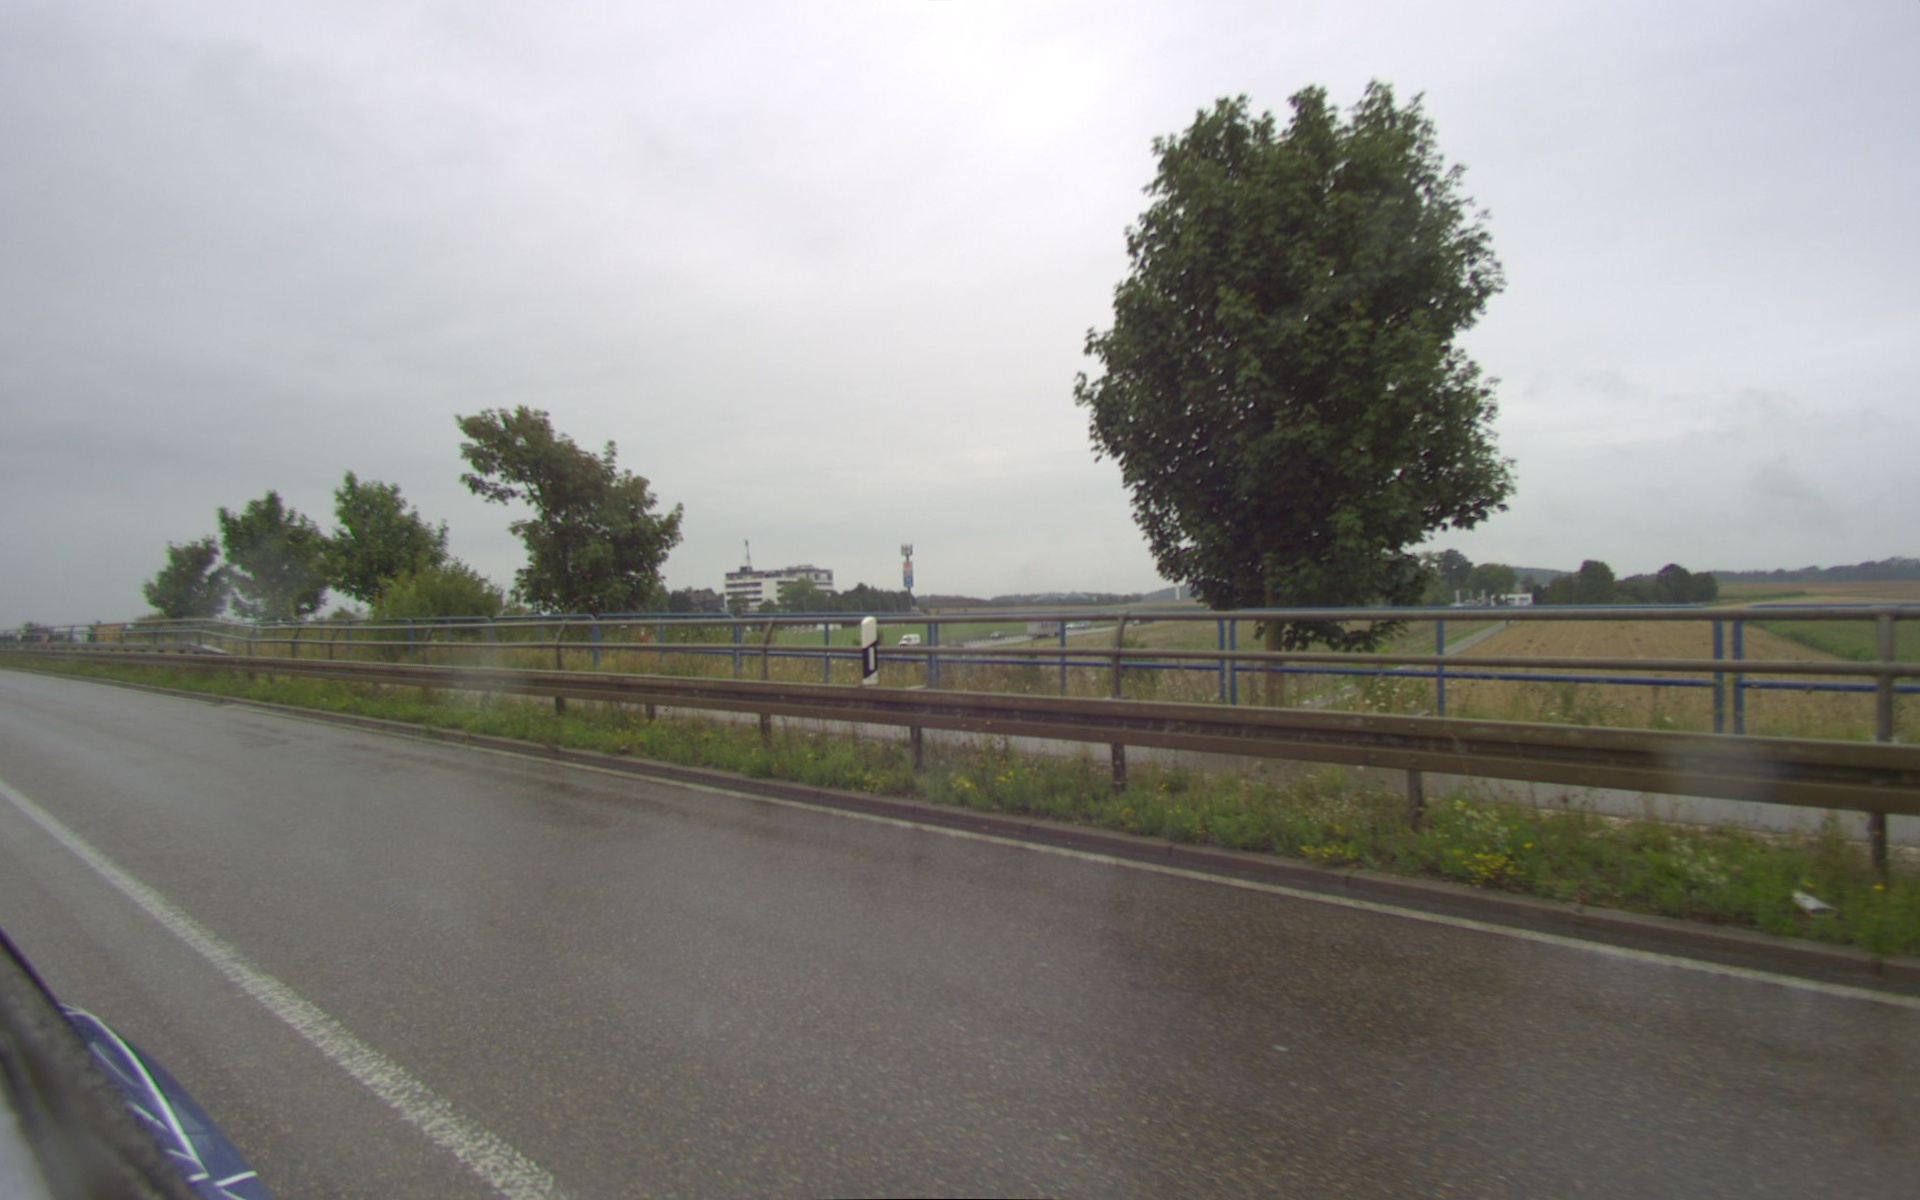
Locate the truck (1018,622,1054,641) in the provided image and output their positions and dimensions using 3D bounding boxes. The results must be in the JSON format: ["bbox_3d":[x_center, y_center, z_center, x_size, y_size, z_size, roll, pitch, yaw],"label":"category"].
[{"bbox_3d":[17.044,6.965,225.089,3.339,3.975,11.411,-2,-1,30],"label":"truck"}]
